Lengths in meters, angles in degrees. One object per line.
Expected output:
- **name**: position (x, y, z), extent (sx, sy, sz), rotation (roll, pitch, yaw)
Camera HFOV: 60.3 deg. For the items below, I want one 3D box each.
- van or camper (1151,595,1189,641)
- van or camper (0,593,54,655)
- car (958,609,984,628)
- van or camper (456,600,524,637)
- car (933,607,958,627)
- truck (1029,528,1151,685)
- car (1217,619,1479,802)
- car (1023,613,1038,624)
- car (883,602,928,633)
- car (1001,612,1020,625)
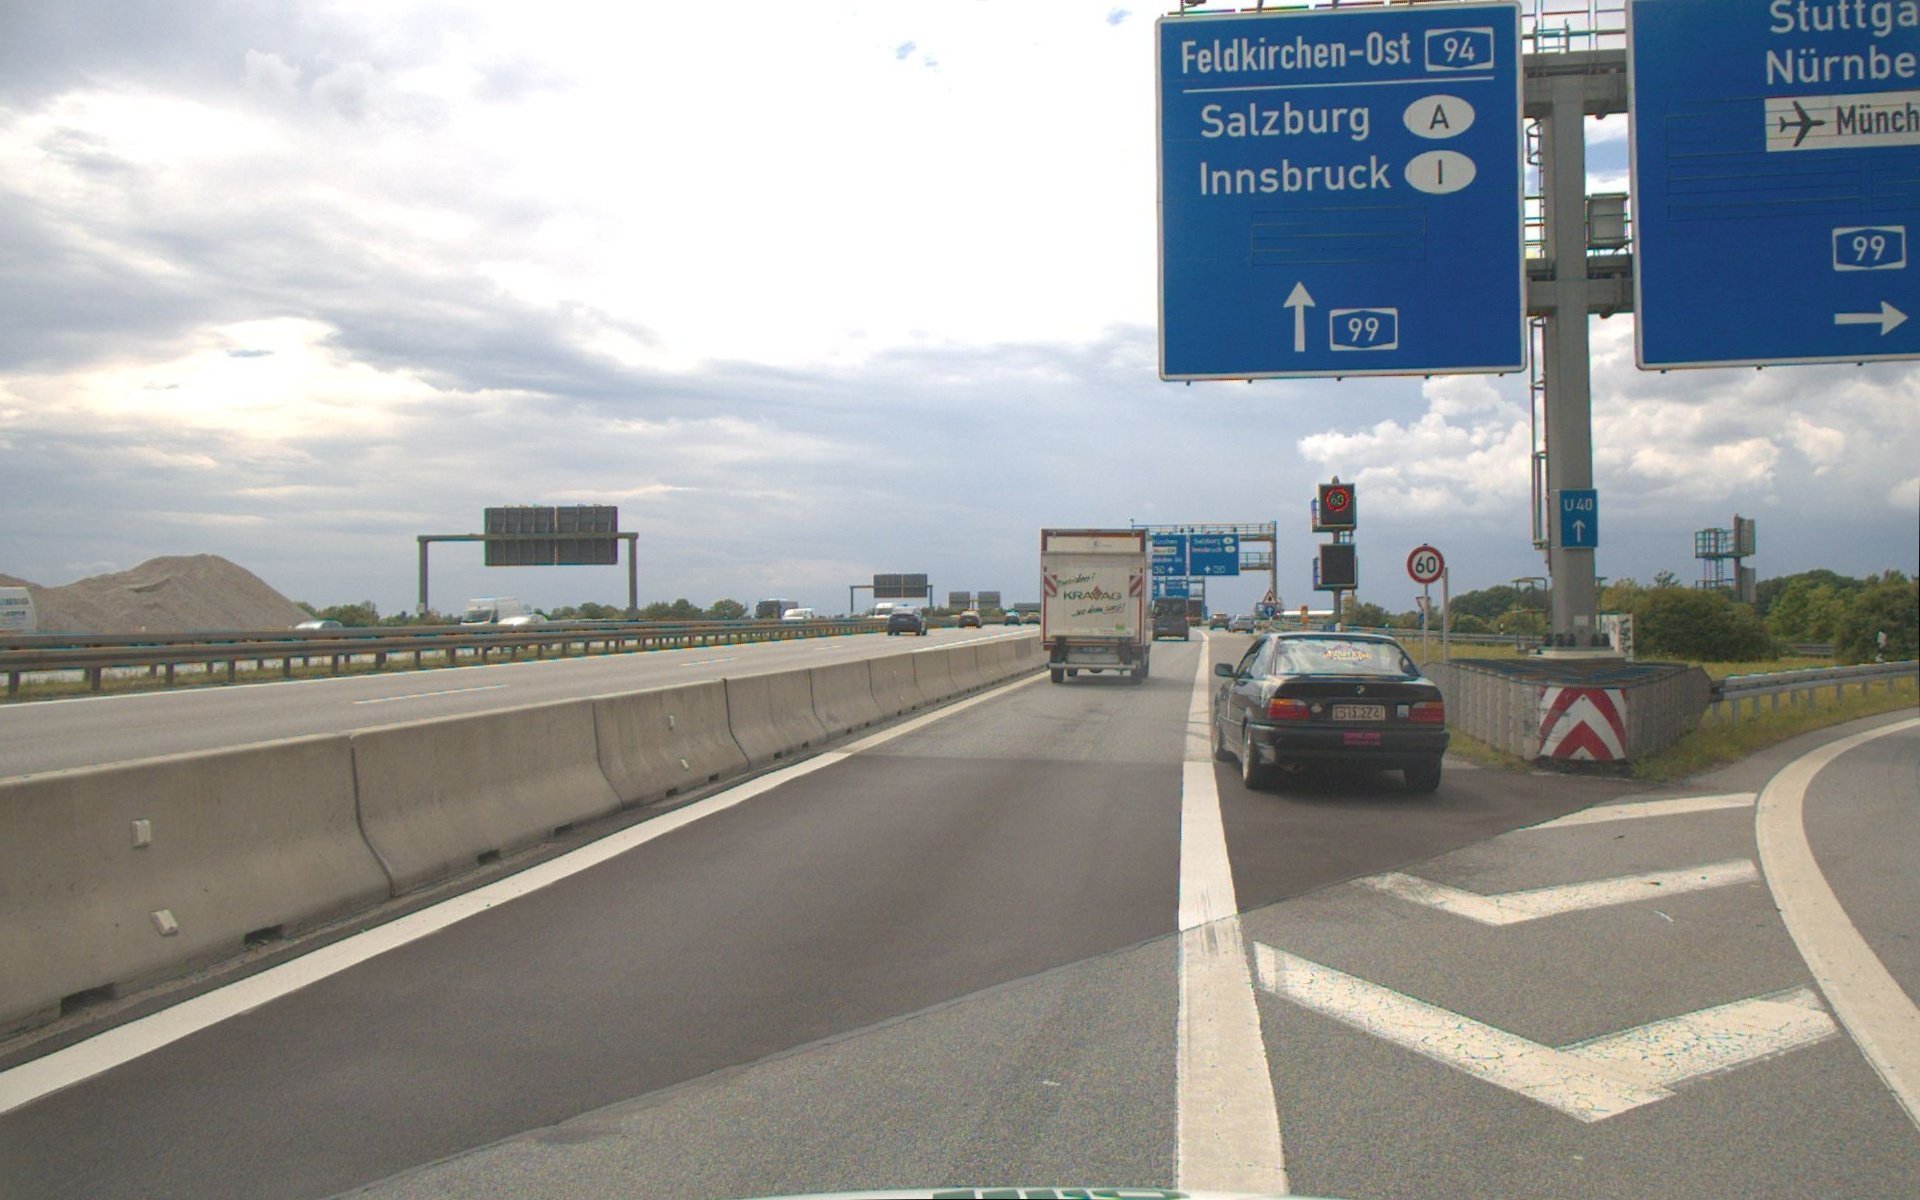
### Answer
- **van or camper**: position (11.467, 0.989, 90.324), extent (1.957, 2.412, 6.130), rotation (0, 0, 7)
- **van or camper**: position (-32.744, 0.775, 54.309), extent (2.188, 2.049, 6.281), rotation (0, 0, 4)
- **car**: position (0.973, 1.606, 142.667), extent (1.951, 1.568, 4.002), rotation (0, 0, 5)
- **van or camper**: position (-29.147, 1.141, 102.832), extent (2.140, 2.210, 5.813), rotation (0, 0, 5)
- **car**: position (-1.286, 1.478, 146.749), extent (1.631, 1.736, 4.003), rotation (1, 0, 8)
- **truck**: position (2.983, 0.139, 36.560), extent (2.353, 3.144, 6.375), rotation (1, 0, 7)
- **car**: position (3.408, 0.901, 15.253), extent (1.745, 1.402, 4.139), rotation (1, 0, 5)
- **car**: position (9.689, 2.516, 226.612), extent (1.951, 1.422, 4.002), rotation (0, 0, 5)
- **car**: position (-3.072, 0.995, 94.692), extent (1.951, 1.691, 4.387), rotation (0, 0, 6)
- **car**: position (5.605, 2.033, 182.945), extent (1.951, 1.422, 4.002), rotation (0, 0, 5)
